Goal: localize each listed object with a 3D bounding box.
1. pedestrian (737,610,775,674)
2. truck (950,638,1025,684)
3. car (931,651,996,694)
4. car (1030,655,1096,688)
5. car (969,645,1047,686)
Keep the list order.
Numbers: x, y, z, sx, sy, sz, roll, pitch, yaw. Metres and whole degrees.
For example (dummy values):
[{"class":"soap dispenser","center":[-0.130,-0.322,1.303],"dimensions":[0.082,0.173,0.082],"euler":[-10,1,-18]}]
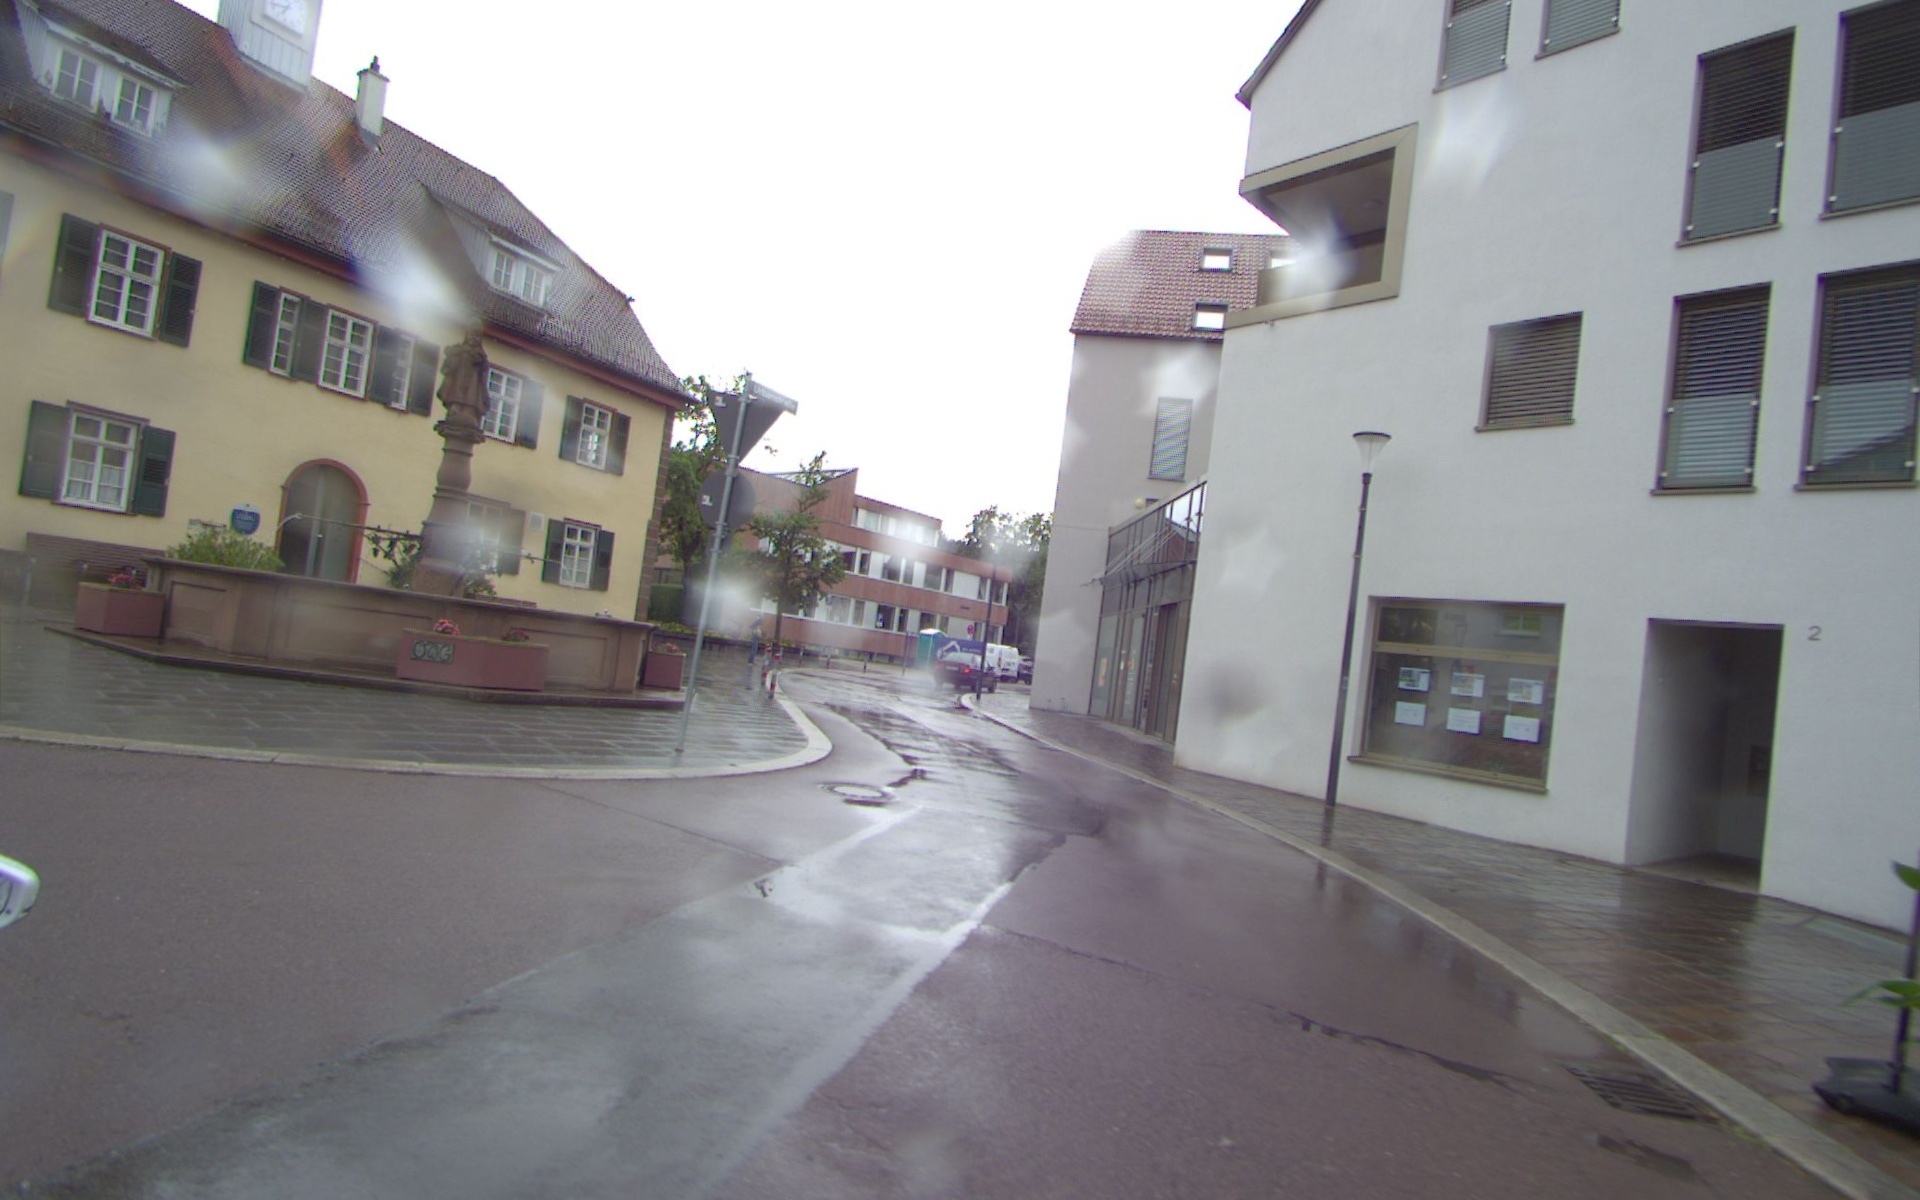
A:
[{"class":"pedestrian","center":[-6.321,1.304,31.163],"dimensions":[0.778,1.843,0.687],"euler":[7,-1,4]},{"class":"truck","center":[1.524,3.413,55.990],"dimensions":[3.489,2.037,1.862],"euler":[7,-2,31]},{"class":"car","center":[0.179,2.793,39.006],"dimensions":[1.640,1.379,3.611],"euler":[7,-2,12]},{"class":"car","center":[6.462,4.473,63.155],"dimensions":[3.489,1.566,1.862],"euler":[7,-2,31]},{"class":"car","center":[2.795,3.814,58.888],"dimensions":[3.932,1.814,1.998],"euler":[7,-2,30]}]
